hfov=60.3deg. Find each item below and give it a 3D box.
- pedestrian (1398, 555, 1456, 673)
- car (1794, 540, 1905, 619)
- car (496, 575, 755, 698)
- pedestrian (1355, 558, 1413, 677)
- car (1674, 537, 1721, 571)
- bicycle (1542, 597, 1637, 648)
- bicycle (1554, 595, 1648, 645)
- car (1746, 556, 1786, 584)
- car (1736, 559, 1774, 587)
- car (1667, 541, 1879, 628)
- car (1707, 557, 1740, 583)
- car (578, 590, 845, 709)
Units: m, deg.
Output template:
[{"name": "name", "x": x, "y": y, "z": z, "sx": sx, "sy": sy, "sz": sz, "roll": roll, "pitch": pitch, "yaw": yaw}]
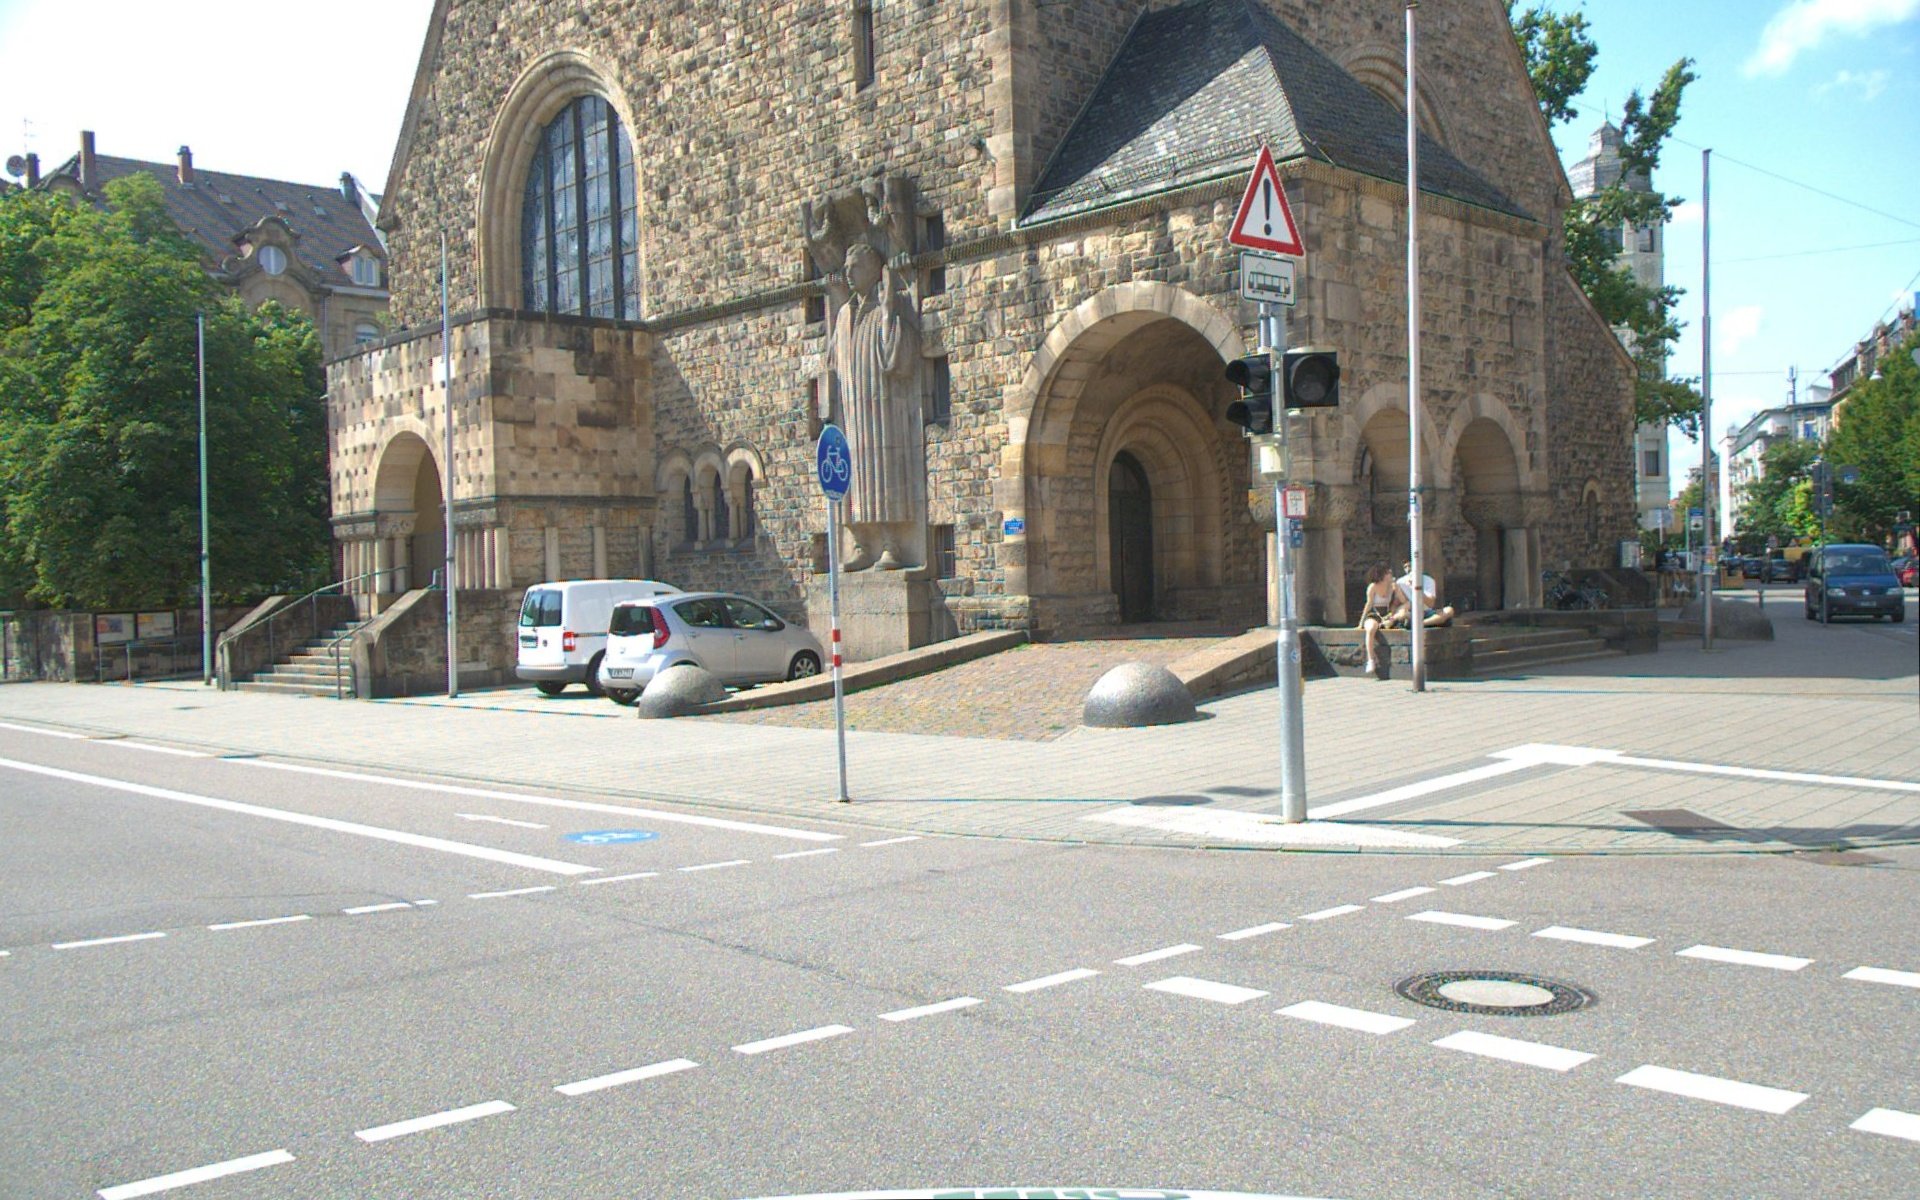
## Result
[{"name": "pedestrian", "x": 6.005, "y": 0.175, "z": 21.287, "sx": 0.545, "sy": 1.430, "sz": 0.518, "roll": -4, "pitch": 6, "yaw": -1}, {"name": "car", "x": 21.443, "y": -0.528, "z": 40.022, "sx": 1.772, "sy": 1.693, "sz": 4.074, "roll": -3, "pitch": 2, "yaw": 21}, {"name": "car", "x": -5.628, "y": 0.563, "z": 28.137, "sx": 1.831, "sy": 1.855, "sz": 3.990, "roll": -1, "pitch": 1, "yaw": 43}, {"name": "pedestrian", "x": 5.451, "y": 0.217, "z": 21.278, "sx": 0.545, "sy": 1.430, "sz": 0.518, "roll": -4, "pitch": 6, "yaw": -1}, {"name": "car", "x": 30.820, "y": -1.936, "z": 69.109, "sx": 1.606, "sy": 1.348, "sz": 3.740, "roll": -2, "pitch": 1, "yaw": 26}, {"name": "bicycle", "x": 9.809, "y": 0.353, "z": 25.797, "sx": 1.343, "sy": 0.754, "sz": 0.336, "roll": -1, "pitch": 1, "yaw": 44}, {"name": "bicycle", "x": 10.111, "y": 0.314, "z": 26.108, "sx": 1.343, "sy": 0.754, "sz": 0.336, "roll": -1, "pitch": 1, "yaw": 44}, {"name": "car", "x": 48.630, "y": -1.802, "z": 99.859, "sx": 1.747, "sy": 1.579, "sz": 4.001, "roll": -2, "pitch": 1, "yaw": 21}, {"name": "car", "x": 54.819, "y": -1.863, "z": 114.088, "sx": 1.952, "sy": 1.847, "sz": 4.001, "roll": -2, "pitch": 1, "yaw": 21}, {"name": "car", "x": 17.230, "y": -0.322, "z": 35.277, "sx": 1.991, "sy": 1.681, "sz": 3.959, "roll": -2, "pitch": 0, "yaw": -12}, {"name": "car", "x": 57.806, "y": -2.260, "z": 125.260, "sx": 1.952, "sy": 1.847, "sz": 4.001, "roll": -2, "pitch": 1, "yaw": 21}, {"name": "car", "x": -3.750, "y": 0.703, "z": 25.372, "sx": 1.767, "sy": 1.574, "sz": 3.754, "roll": -1, "pitch": 1, "yaw": 44}]
